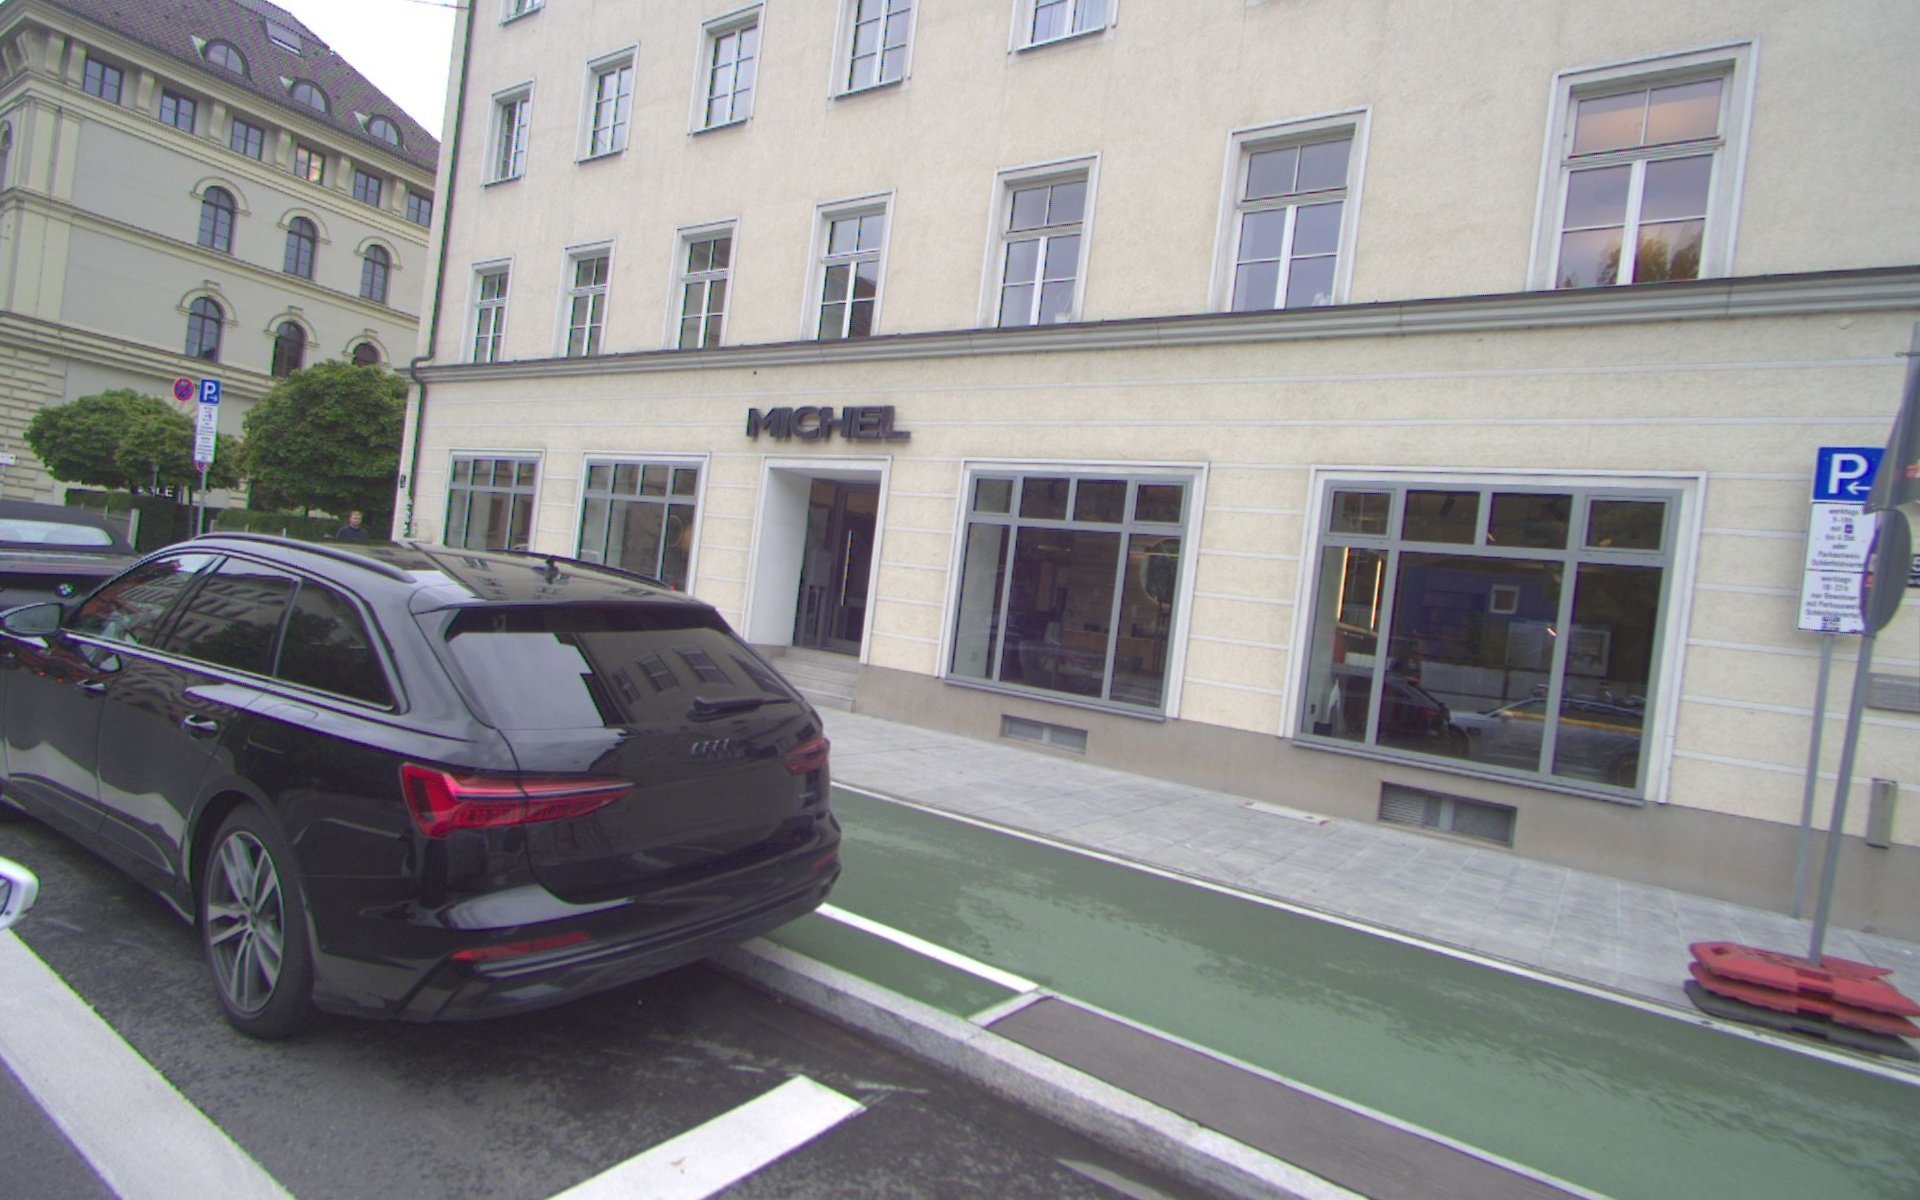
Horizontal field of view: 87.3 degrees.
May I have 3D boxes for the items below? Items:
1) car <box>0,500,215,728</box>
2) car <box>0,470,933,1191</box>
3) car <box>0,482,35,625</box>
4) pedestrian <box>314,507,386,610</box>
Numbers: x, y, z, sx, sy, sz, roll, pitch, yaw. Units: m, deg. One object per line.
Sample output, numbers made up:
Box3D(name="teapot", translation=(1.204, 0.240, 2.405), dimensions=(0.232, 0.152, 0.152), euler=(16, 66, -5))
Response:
Box3D(name="car", translation=(-7.682, -0.085, 7.755), dimensions=(4.355, 1.402, 1.682), euler=(7, -1, 34))
Box3D(name="car", translation=(-2.596, 0.451, 4.277), dimensions=(4.611, 1.496, 1.806), euler=(7, -3, 33))
Box3D(name="car", translation=(-11.999, -0.716, 11.264), dimensions=(3.369, 1.514, 1.611), euler=(7, 0, 34))
Box3D(name="pedestrian", translation=(-11.824, -0.797, 19.499), dimensions=(0.765, 1.859, 0.790), euler=(8, 1, 35))
